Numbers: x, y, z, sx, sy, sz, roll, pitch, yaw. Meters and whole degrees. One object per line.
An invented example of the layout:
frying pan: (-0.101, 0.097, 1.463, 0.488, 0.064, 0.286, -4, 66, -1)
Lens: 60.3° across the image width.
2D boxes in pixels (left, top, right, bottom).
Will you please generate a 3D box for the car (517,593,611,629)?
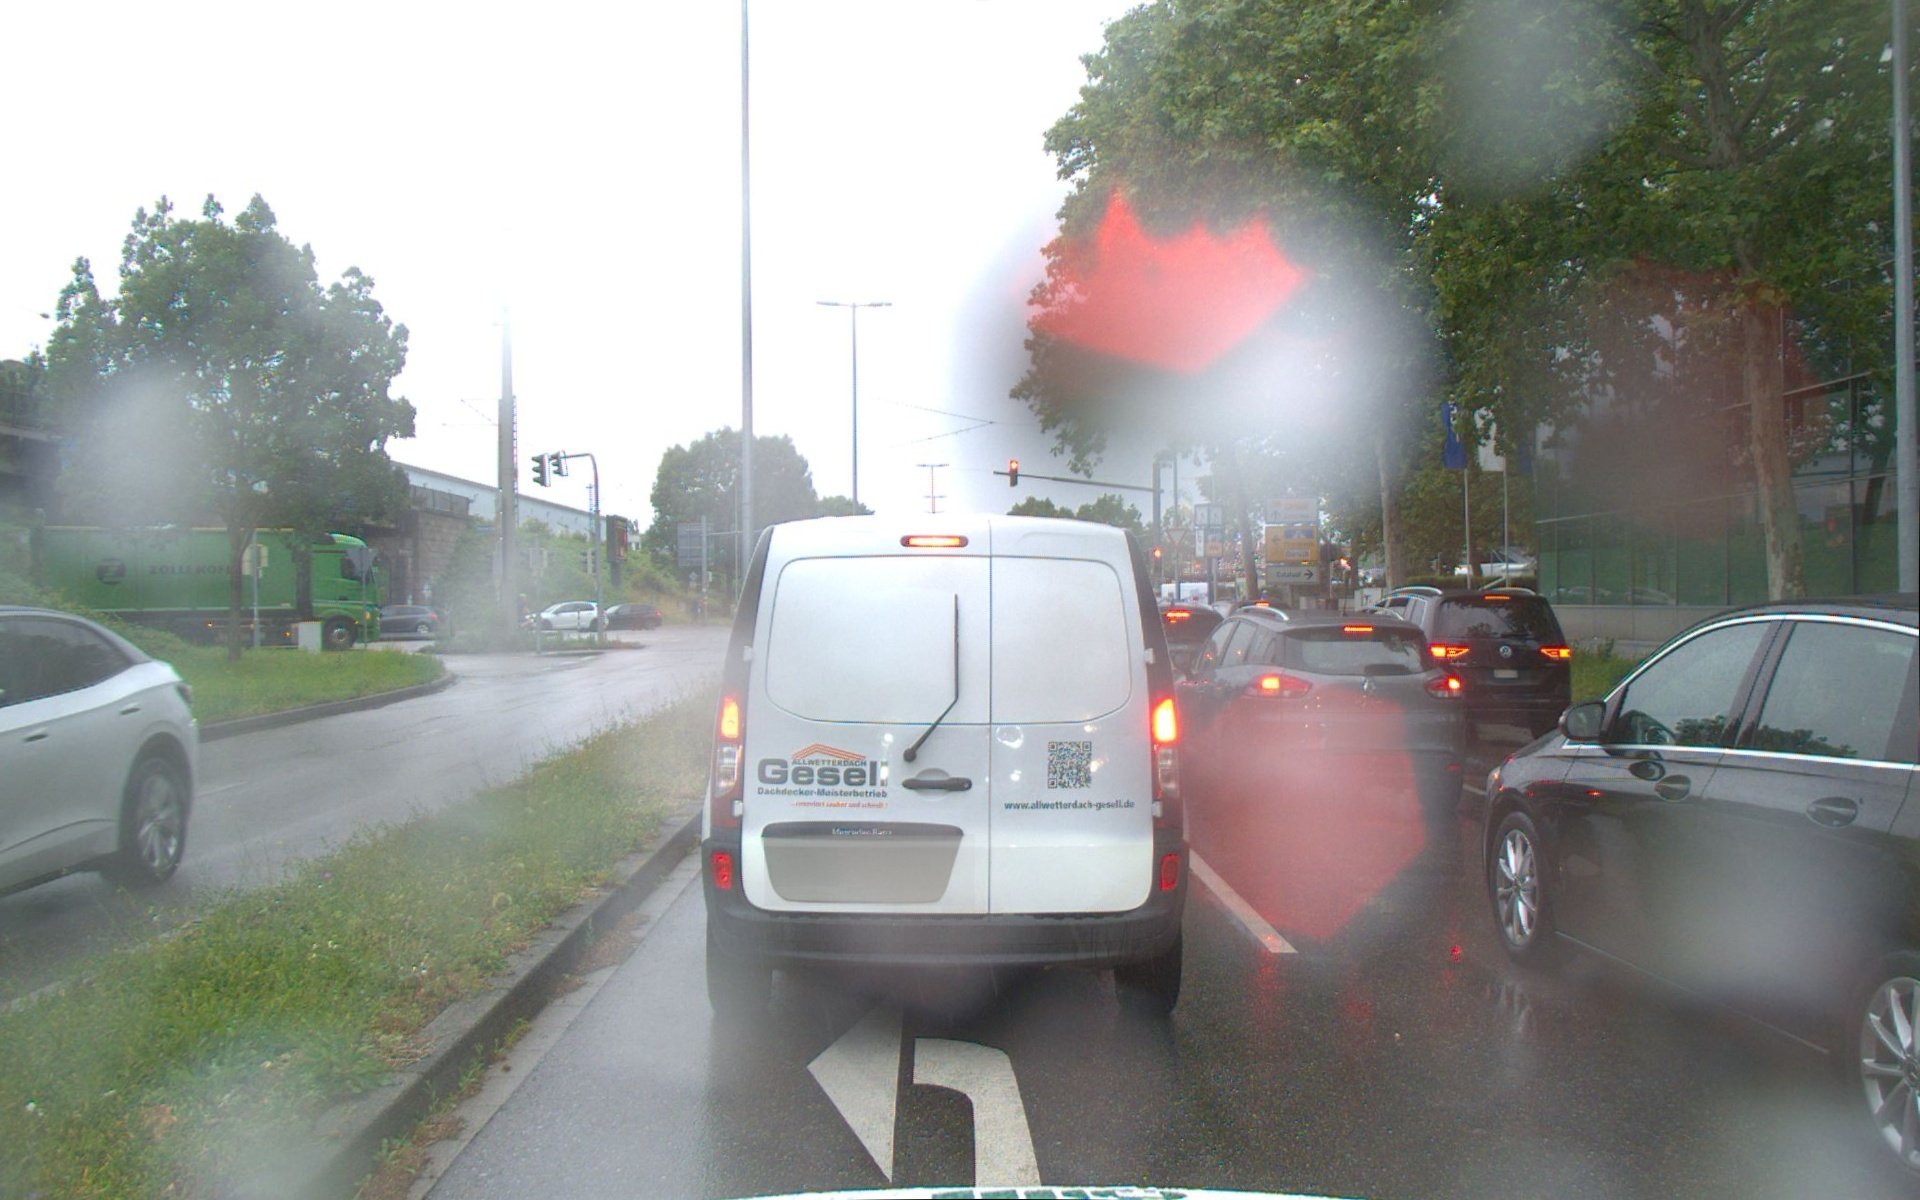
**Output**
car: (-18.653, 0.514, 77.909, 3.953, 1.613, 1.697, -1, 0, -35)

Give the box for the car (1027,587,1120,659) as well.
car: (2.405, 0.464, 35.852, 1.677, 1.470, 3.999, 0, 0, -1)

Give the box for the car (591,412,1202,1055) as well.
car: (-0.279, 0.422, 7.327, 1.953, 2.049, 3.998, 0, 0, -3)

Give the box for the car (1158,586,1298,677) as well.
car: (4.913, 0.559, 30.879, 1.802, 1.563, 4.110, 1, 0, -2)

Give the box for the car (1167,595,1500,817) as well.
car: (2.755, 0.704, 13.095, 1.677, 1.470, 3.999, 0, 0, -1)

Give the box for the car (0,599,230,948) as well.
car: (-5.372, 0.832, 7.943, 1.923, 1.551, 4.332, -2, 1, -3)

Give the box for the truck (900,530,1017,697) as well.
truck: (-0.093, 0.216, 27.019, 1.721, 2.509, 3.998, 0, 0, -3)

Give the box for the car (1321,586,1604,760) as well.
car: (5.554, 0.754, 18.868, 1.819, 1.756, 4.188, 0, 0, -2)

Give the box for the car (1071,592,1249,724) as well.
car: (2.387, 0.642, 20.642, 1.677, 1.470, 3.999, 0, 0, -1)

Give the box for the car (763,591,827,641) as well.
car: (-5.570, 0.535, 56.349, 1.789, 1.596, 3.999, -2, 0, -1)

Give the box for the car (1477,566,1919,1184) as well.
car: (3.234, 0.685, 5.424, 1.674, 1.577, 3.998, 0, 1, -3)

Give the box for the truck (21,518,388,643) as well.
truck: (-23.229, -0.458, 51.372, 10.037, 3.512, 2.622, 2, -2, -38)

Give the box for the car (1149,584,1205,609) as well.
car: (15.276, -0.252, 116.279, 3.902, 1.743, 1.774, 0, -2, 9)
